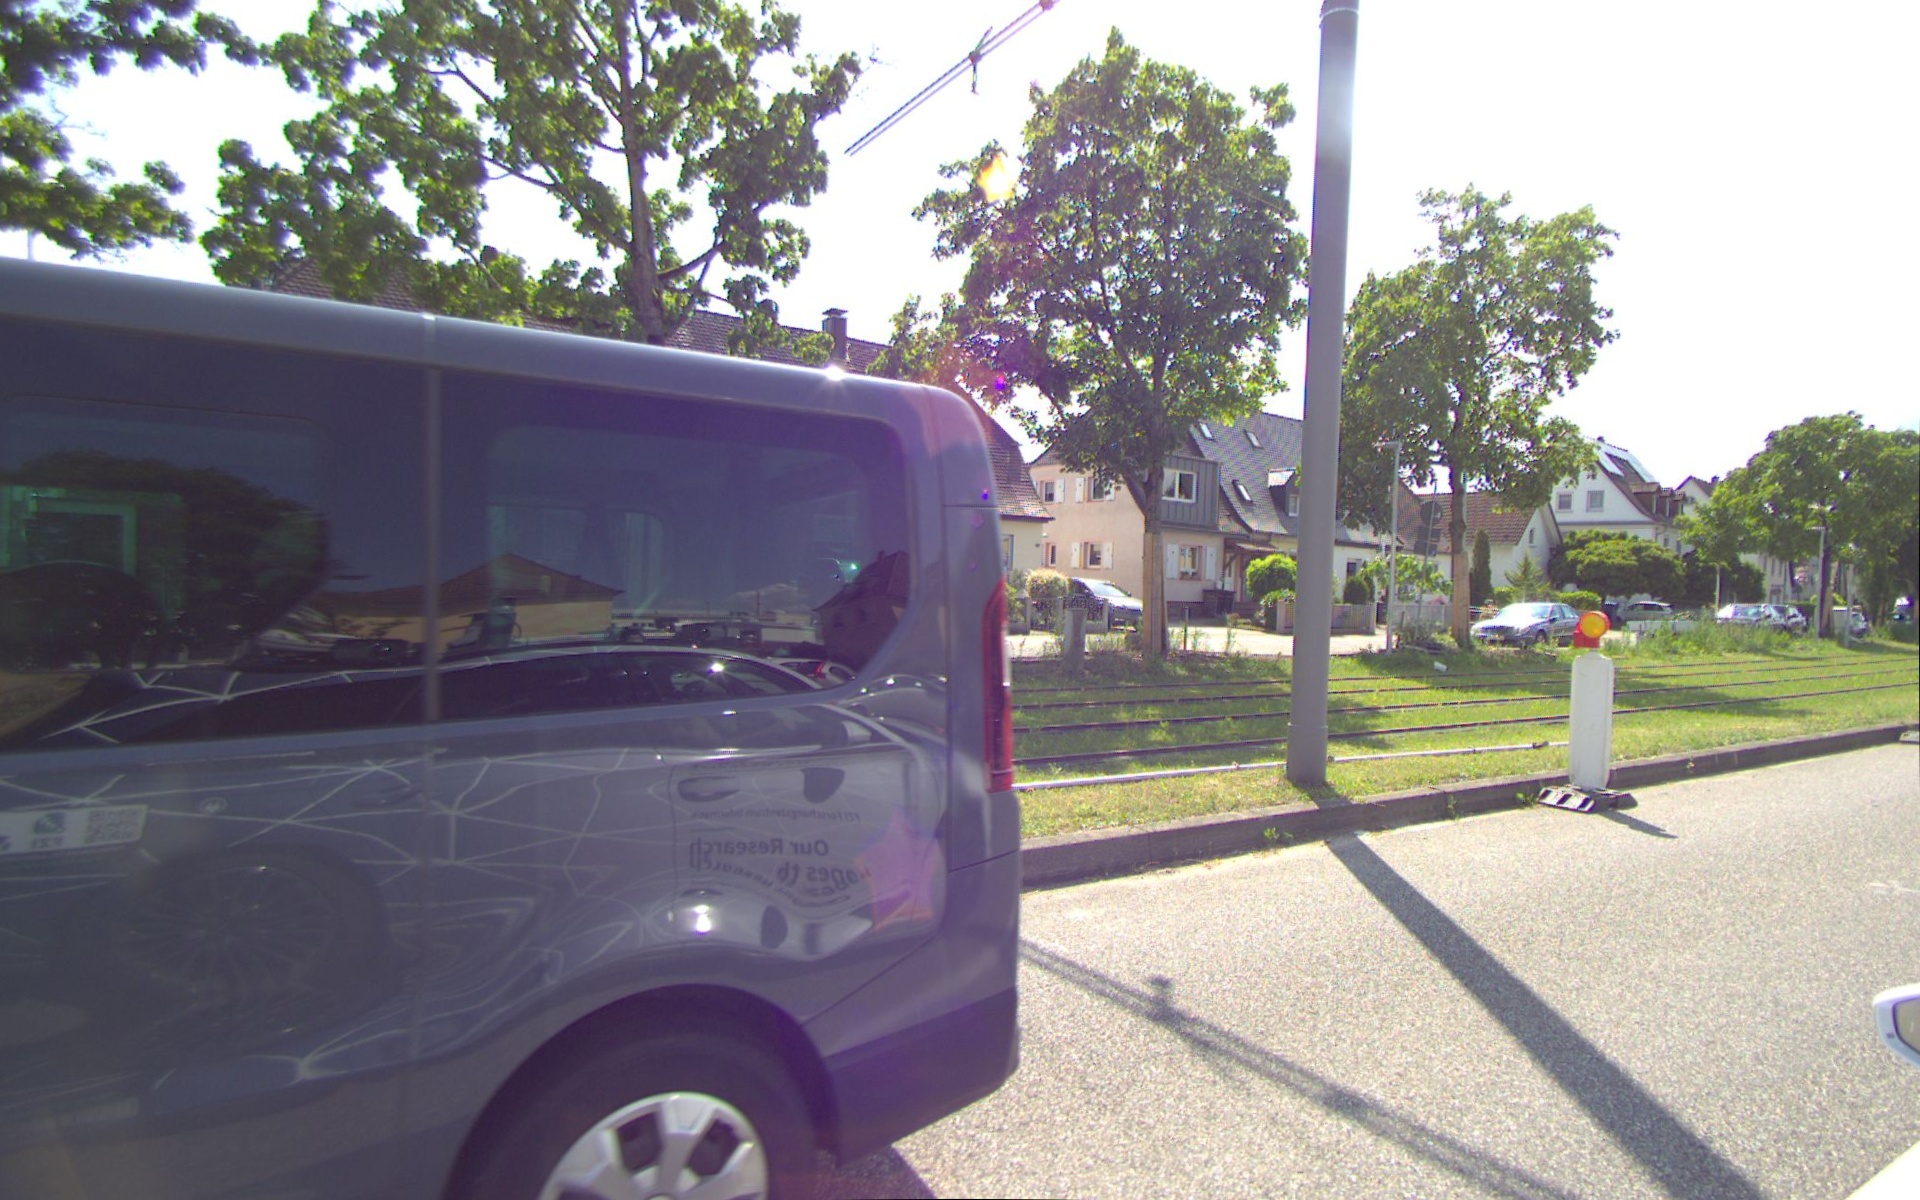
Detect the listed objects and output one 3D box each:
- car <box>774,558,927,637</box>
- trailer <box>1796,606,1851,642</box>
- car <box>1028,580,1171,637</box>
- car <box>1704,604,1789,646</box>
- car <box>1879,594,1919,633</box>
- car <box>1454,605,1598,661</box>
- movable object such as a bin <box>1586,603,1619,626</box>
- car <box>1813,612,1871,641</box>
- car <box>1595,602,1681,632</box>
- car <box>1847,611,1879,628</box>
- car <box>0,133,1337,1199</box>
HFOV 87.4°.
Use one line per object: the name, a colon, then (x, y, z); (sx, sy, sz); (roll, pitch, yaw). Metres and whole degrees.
car: (-2.943, -0.107, 26.148); (2.044, 1.861, 4.440); (1, 1, -35)
trailer: (43.152, 1.180, 50.172); (3.345, 1.700, 1.552); (1, 2, -41)
car: (4.253, 0.214, 31.266); (1.906, 1.544, 4.440); (1, 1, -35)
car: (31.833, 0.985, 40.596); (4.530, 1.608, 1.796); (1, 0, -40)
car: (69.568, 0.988, 74.225); (6.956, 2.757, 2.053); (1, 0, -45)
car: (16.512, 0.937, 29.222); (4.766, 1.425, 1.807); (1, 1, -36)
movable object such as a bin: (38.429, 0.858, 60.066); (1.079, 1.347, 1.349); (1, 1, -38)
car: (47.907, 1.419, 54.538); (4.530, 1.525, 1.714); (1, 0, -40)
car: (40.713, 1.017, 60.326); (1.781, 1.592, 3.950); (1, 1, -42)
car: (90.529, 1.931, 100.720); (4.364, 1.573, 1.861); (2, 1, -42)
car: (-1.762, 0.381, 2.115); (5.232, 1.992, 1.945); (1, 1, -31)
